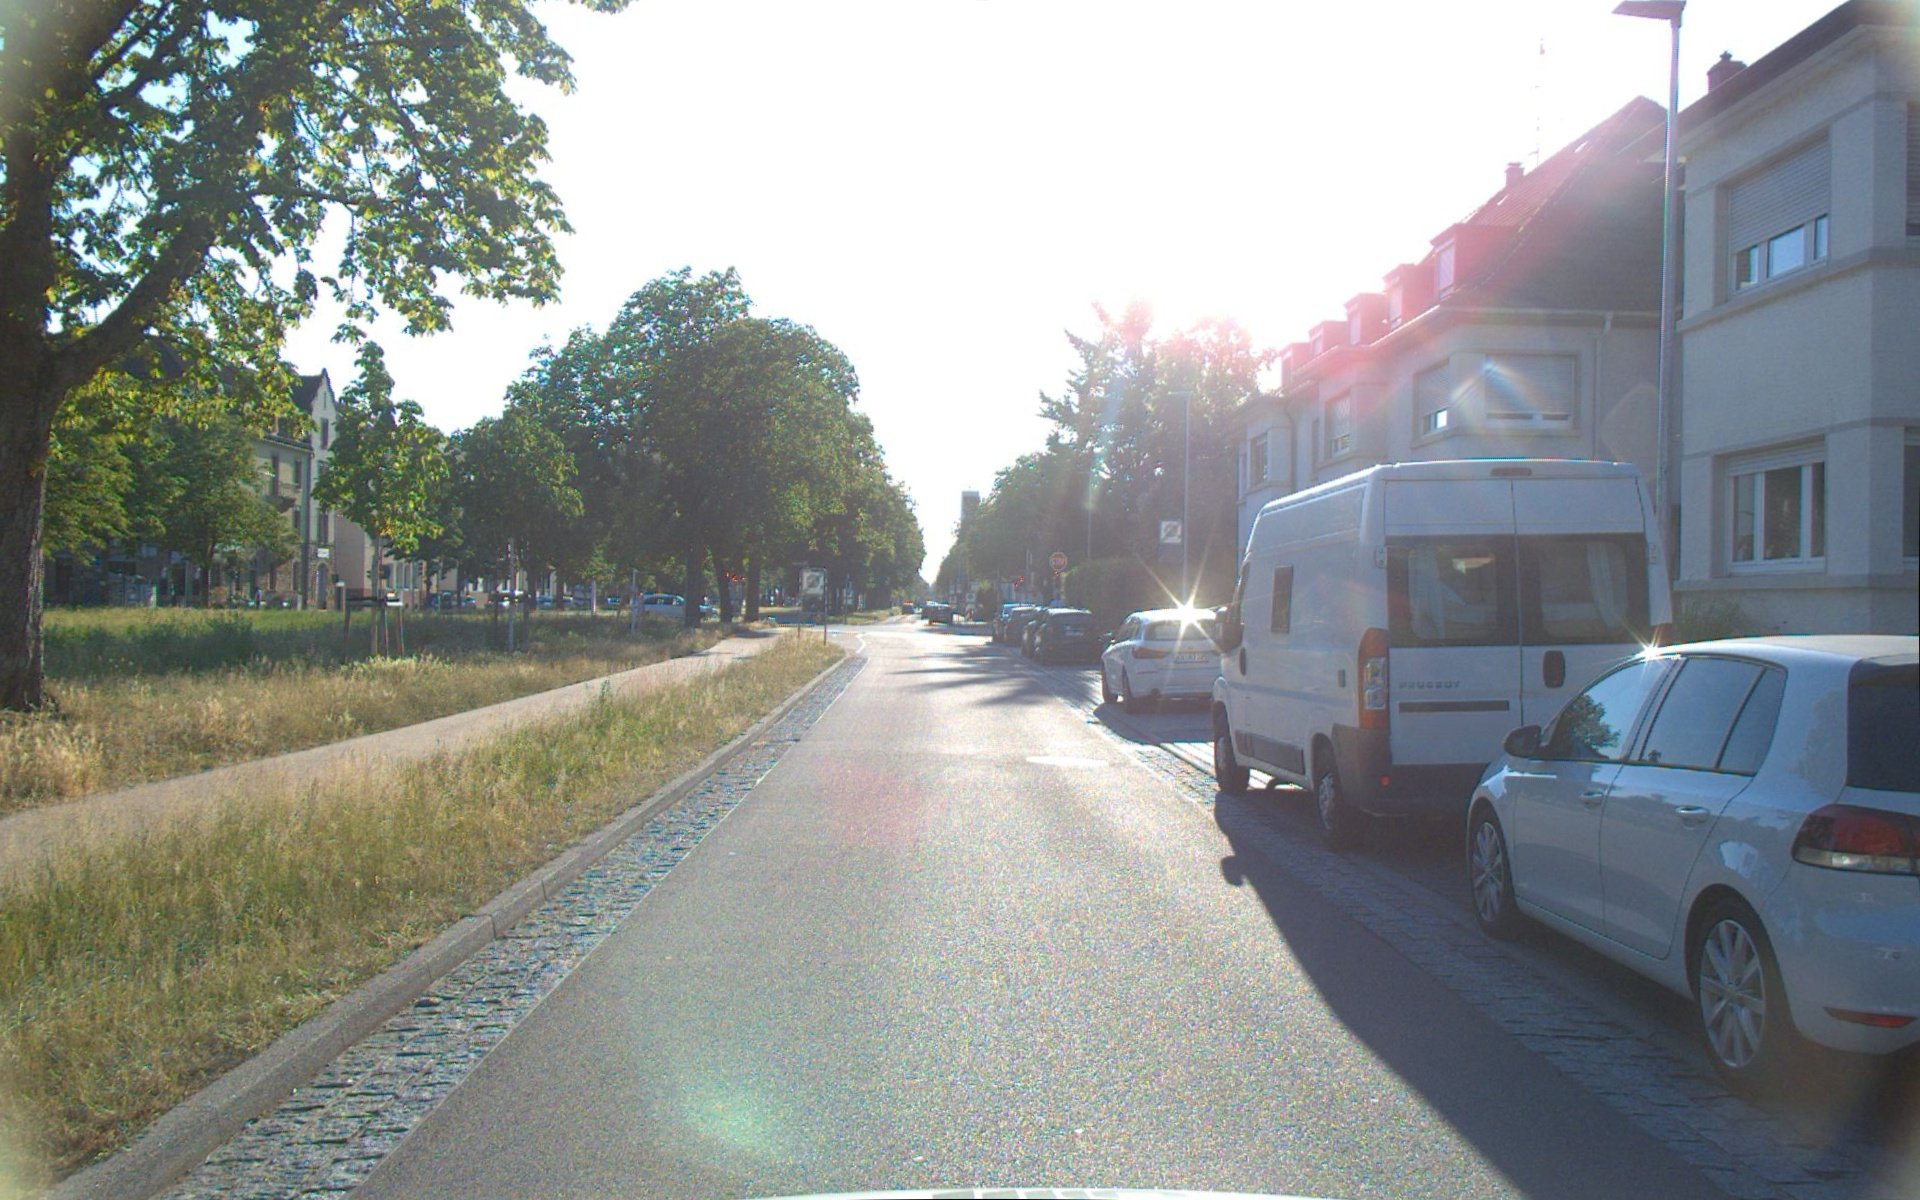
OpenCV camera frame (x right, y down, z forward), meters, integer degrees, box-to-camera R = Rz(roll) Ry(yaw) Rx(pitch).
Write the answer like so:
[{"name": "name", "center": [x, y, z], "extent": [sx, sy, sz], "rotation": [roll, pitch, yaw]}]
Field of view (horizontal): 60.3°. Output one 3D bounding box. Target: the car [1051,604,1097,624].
[{"name": "car", "center": [9.628, 1.197, 139.611], "extent": [3.703, 1.552, 1.743], "rotation": [1, 1, -1]}]

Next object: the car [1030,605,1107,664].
[{"name": "car", "center": [2.885, 0.896, 44.751], "extent": [1.684, 1.497, 3.982], "rotation": [-1, 0, -2]}]

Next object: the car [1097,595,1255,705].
[{"name": "car", "center": [3.261, 0.710, 25.713], "extent": [1.747, 1.533, 4.232], "rotation": [1, 0, -2]}]

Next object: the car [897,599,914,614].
[{"name": "car", "center": [-7.606, 0.936, 230.929], "extent": [2.090, 2.049, 3.901], "rotation": [2, 0, 0]}]

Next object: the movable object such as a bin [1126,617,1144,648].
[{"name": "movable object such as a bin", "center": [6.143, 1.151, 58.097], "extent": [0.498, 1.061, 0.658], "rotation": [1, 0, -7]}]

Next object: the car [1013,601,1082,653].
[{"name": "car", "center": [2.624, 0.796, 50.355], "extent": [1.711, 1.500, 4.253], "rotation": [1, 0, -2]}]

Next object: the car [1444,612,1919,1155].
[{"name": "car", "center": [3.359, 0.814, 6.728], "extent": [1.588, 1.508, 4.108], "rotation": [0, 0, 0]}]

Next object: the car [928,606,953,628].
[{"name": "car", "center": [-1.388, 1.197, 118.087], "extent": [1.607, 1.476, 3.307], "rotation": [1, 0, 1]}]

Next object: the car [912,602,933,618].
[{"name": "car", "center": [-3.451, 0.933, 152.202], "extent": [1.808, 1.418, 3.828], "rotation": [2, 0, 0]}]

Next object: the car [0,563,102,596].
[{"name": "car", "center": [-46.402, -1.051, 83.901], "extent": [4.679, 1.459, 1.810], "rotation": [2, -2, -11]}]

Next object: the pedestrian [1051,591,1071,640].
[{"name": "pedestrian", "center": [3.992, 0.594, 65.215], "extent": [0.656, 1.898, 0.881], "rotation": [1, 0, -2]}]

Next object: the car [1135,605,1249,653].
[{"name": "car", "center": [7.827, 0.969, 56.024], "extent": [3.560, 1.522, 1.781], "rotation": [-1, 0, -1]}]

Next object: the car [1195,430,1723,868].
[{"name": "car", "center": [3.378, 0.293, 12.623], "extent": [2.087, 2.562, 5.505], "rotation": [1, 0, -3]}]

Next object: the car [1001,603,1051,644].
[{"name": "car", "center": [2.418, 0.857, 61.246], "extent": [1.608, 1.452, 3.935], "rotation": [-1, 0, -1]}]

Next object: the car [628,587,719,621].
[{"name": "car", "center": [-14.729, 0.202, 85.028], "extent": [4.344, 1.706, 1.887], "rotation": [0, 0, -20]}]

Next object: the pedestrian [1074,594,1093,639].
[{"name": "pedestrian", "center": [4.872, 0.661, 65.160], "extent": [0.655, 1.738, 0.623], "rotation": [1, 0, 1]}]
